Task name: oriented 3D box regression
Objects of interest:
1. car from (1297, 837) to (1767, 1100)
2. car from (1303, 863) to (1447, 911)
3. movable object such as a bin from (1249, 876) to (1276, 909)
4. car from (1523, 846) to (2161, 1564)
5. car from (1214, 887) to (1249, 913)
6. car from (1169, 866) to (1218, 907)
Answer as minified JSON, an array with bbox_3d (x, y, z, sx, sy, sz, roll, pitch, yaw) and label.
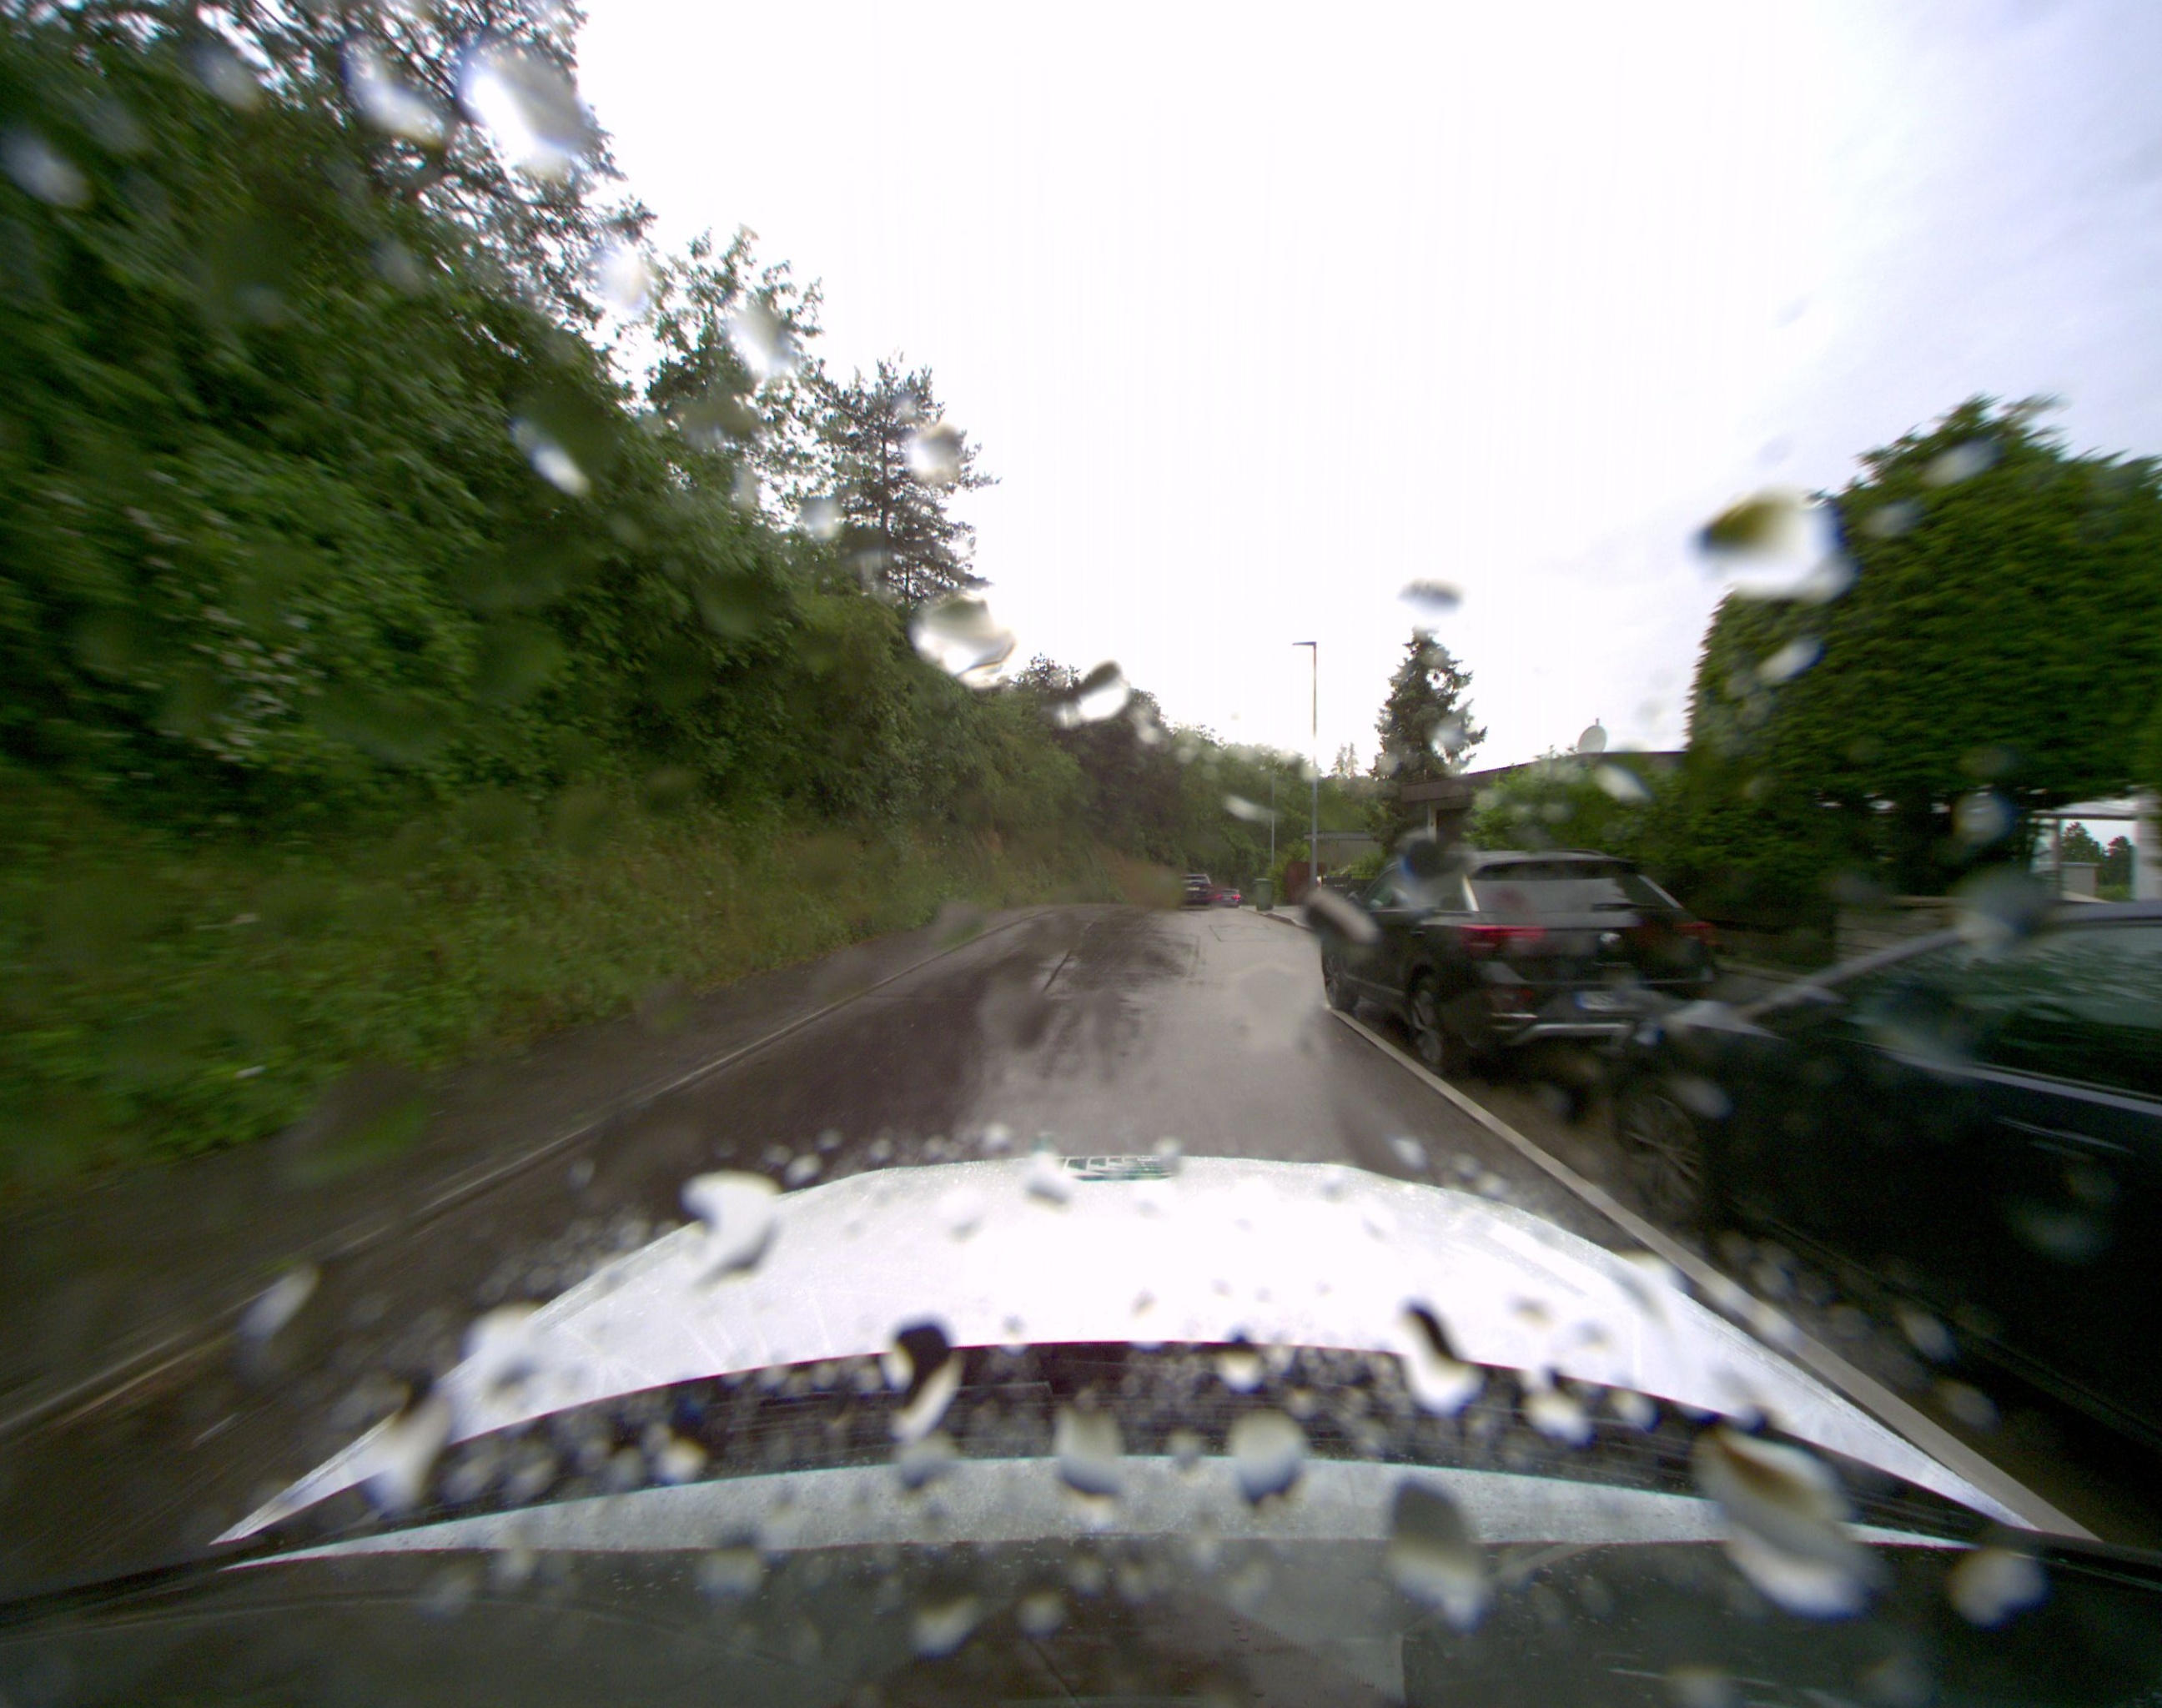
[{"bbox_3d":[3.328,0.702,7.198,1.867,1.592,4.483,0,0,3],"label":"car"},{"bbox_3d":[9.296,1.043,26.089,4.184,1.415,1.949,0,-2,16],"label":"car"},{"bbox_3d":[6.450,1.367,28.924,0.785,1.096,0.676,-4,-3,6],"label":"movable object such as a bin"},{"bbox_3d":[3.103,0.717,2.139,1.748,1.462,4.304,0,0,3],"label":"car"},{"bbox_3d":[10.911,3.272,58.837,1.978,1.605,4.429,0,0,17],"label":"car"},{"bbox_3d":[4.609,1.399,33.859,1.859,1.513,4.098,1,-4,6],"label":"car"}]
